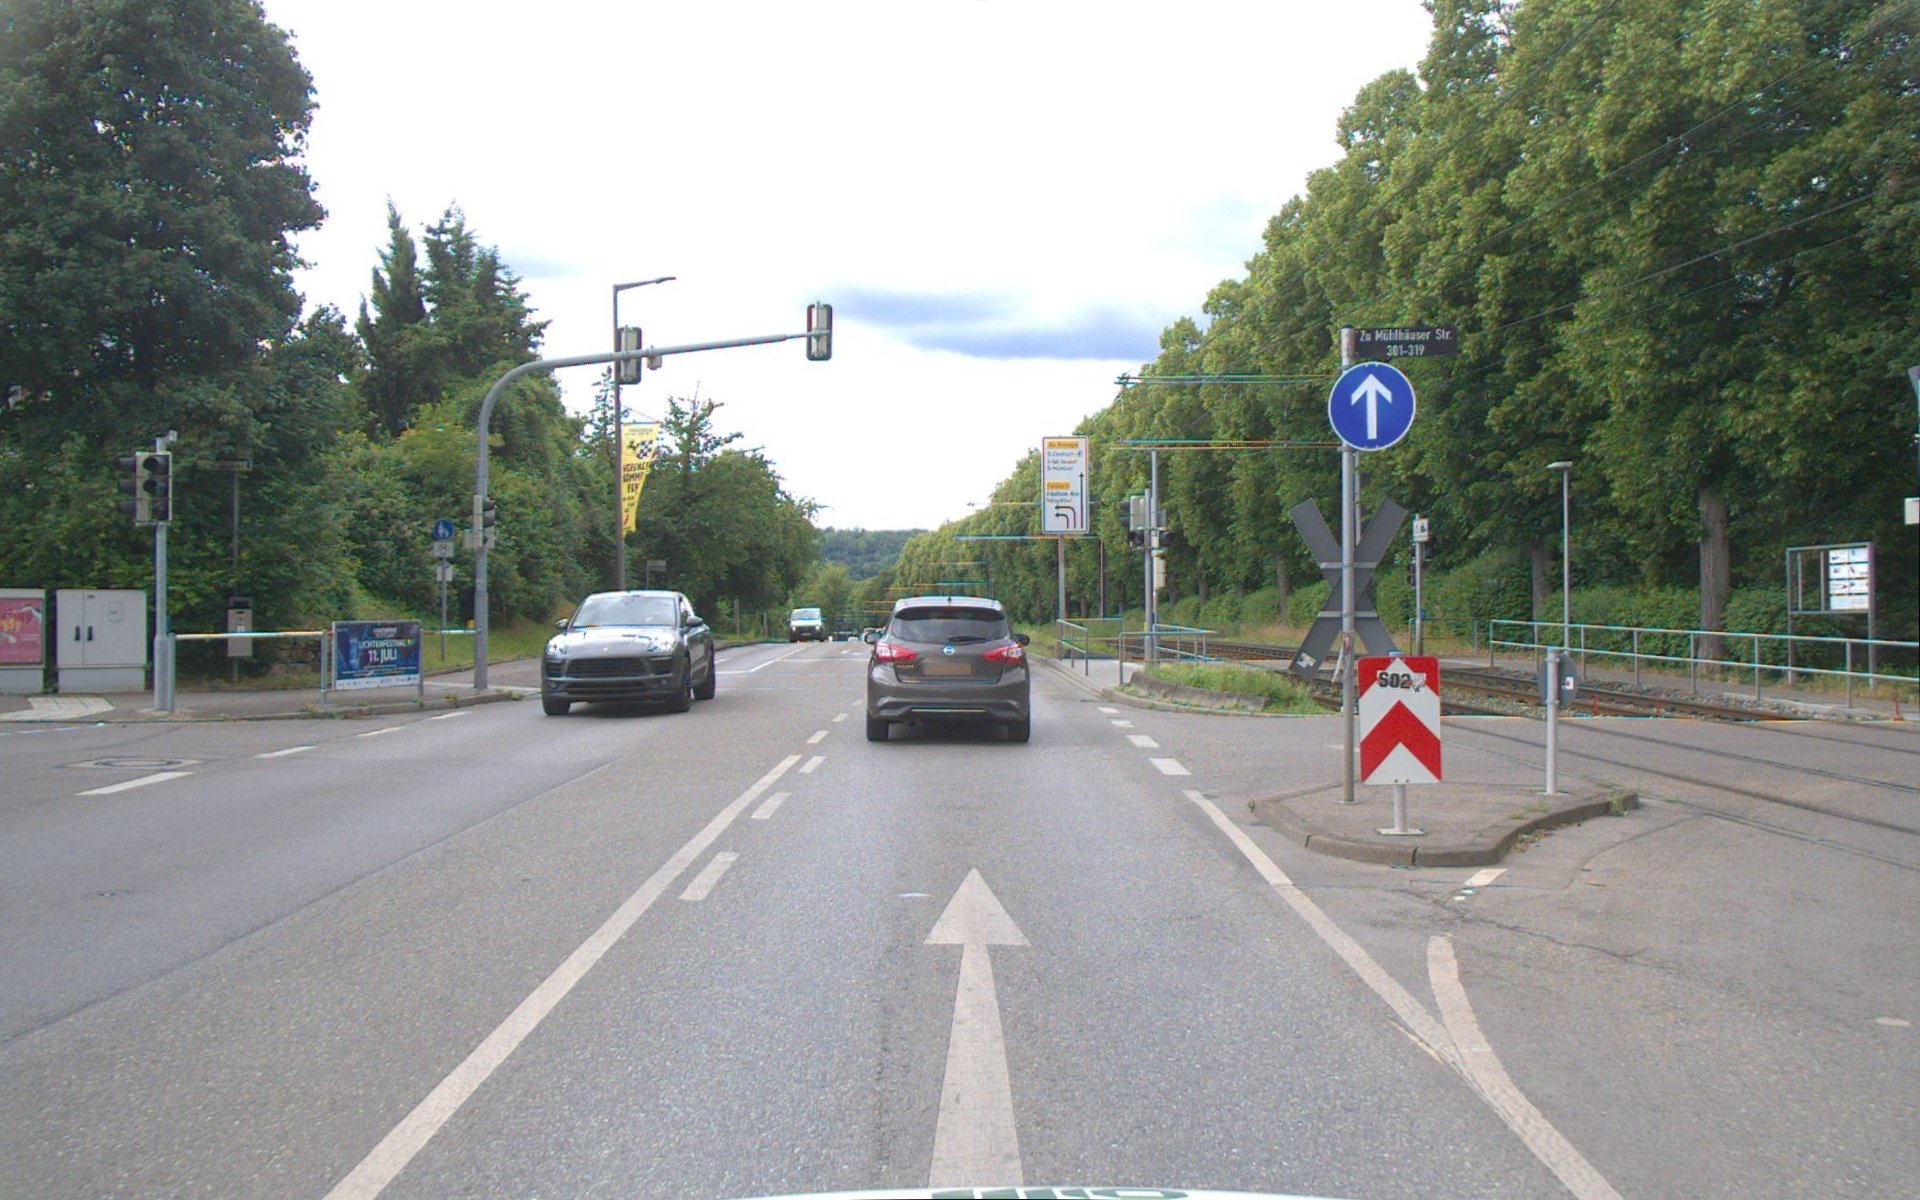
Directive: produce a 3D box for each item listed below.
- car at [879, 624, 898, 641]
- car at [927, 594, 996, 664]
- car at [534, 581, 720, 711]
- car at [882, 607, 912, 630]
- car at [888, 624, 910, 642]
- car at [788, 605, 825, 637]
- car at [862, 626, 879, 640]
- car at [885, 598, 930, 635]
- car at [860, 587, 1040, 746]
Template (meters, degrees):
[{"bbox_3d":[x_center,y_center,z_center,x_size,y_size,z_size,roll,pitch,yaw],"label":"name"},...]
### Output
[{"bbox_3d":[-6.621,2.978,152.739,1.707,1.333,3.998,2,1,-2],"label":"car"},{"bbox_3d":[0.020,0.638,38.221,1.507,1.504,3.764,0,1,-1],"label":"car"},{"bbox_3d":[-4.537,0.610,23.197,1.863,1.601,4.480,1,-1,-3],"label":"car"},{"bbox_3d":[-3.849,1.104,100.870,1.706,1.333,3.999,1,0,-1],"label":"car"},{"bbox_3d":[-5.052,2.728,136.527,1.707,1.333,3.998,2,1,-2],"label":"car"},{"bbox_3d":[-8.354,1.127,90.395,1.749,1.725,3.998,0,0,-2],"label":"car"},{"bbox_3d":[-9.349,3.459,173.466,1.707,1.333,3.998,2,1,-2],"label":"car"},{"bbox_3d":[-2.068,0.634,65.603,1.706,1.333,3.999,1,0,-1],"label":"car"},{"bbox_3d":[-0.119,0.656,18.997,1.798,1.545,4.482,1,1,-1],"label":"car"}]
